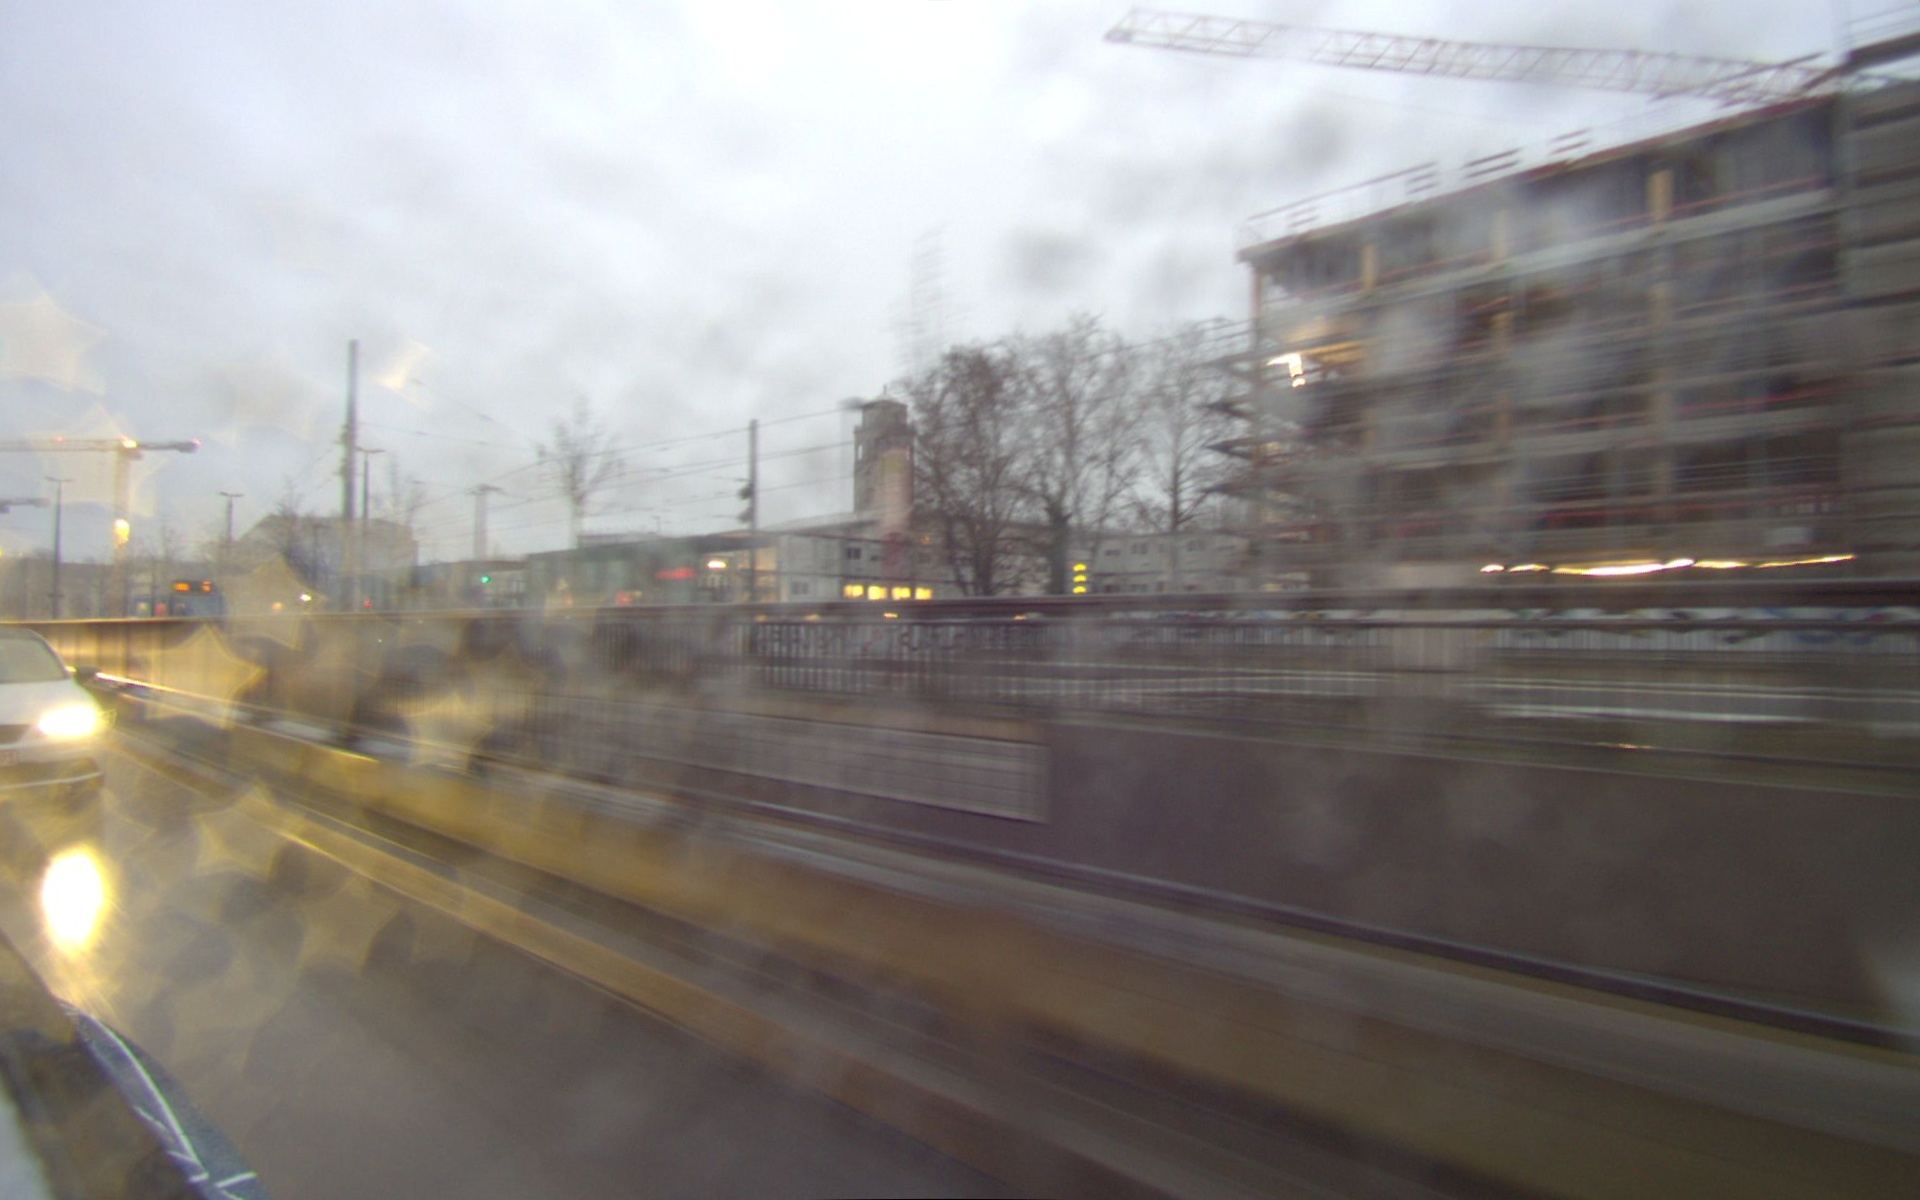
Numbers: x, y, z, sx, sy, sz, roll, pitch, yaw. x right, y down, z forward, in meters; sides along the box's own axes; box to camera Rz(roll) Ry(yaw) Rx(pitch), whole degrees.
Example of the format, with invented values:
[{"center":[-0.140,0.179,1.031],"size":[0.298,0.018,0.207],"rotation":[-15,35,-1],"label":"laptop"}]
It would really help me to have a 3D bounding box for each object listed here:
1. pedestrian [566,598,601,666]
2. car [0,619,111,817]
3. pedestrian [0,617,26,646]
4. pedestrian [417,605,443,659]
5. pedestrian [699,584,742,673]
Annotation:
[{"center":[-8.847,0.751,23.779],"size":[0.576,1.562,0.742],"rotation":[0,-2,-37],"label":"pedestrian"},{"center":[-8.895,0.928,8.882],"size":[4.140,1.484,1.789],"rotation":[-2,-2,44],"label":"car"},{"center":[-56.977,1.897,60.914],"size":[0.758,1.727,0.856],"rotation":[-1,-1,15],"label":"pedestrian"},{"center":[-15.628,0.932,29.833],"size":[0.576,1.562,0.742],"rotation":[0,-2,-37],"label":"pedestrian"},{"center":[-4.748,0.563,20.041],"size":[0.576,1.714,0.742],"rotation":[0,-2,-37],"label":"pedestrian"}]
